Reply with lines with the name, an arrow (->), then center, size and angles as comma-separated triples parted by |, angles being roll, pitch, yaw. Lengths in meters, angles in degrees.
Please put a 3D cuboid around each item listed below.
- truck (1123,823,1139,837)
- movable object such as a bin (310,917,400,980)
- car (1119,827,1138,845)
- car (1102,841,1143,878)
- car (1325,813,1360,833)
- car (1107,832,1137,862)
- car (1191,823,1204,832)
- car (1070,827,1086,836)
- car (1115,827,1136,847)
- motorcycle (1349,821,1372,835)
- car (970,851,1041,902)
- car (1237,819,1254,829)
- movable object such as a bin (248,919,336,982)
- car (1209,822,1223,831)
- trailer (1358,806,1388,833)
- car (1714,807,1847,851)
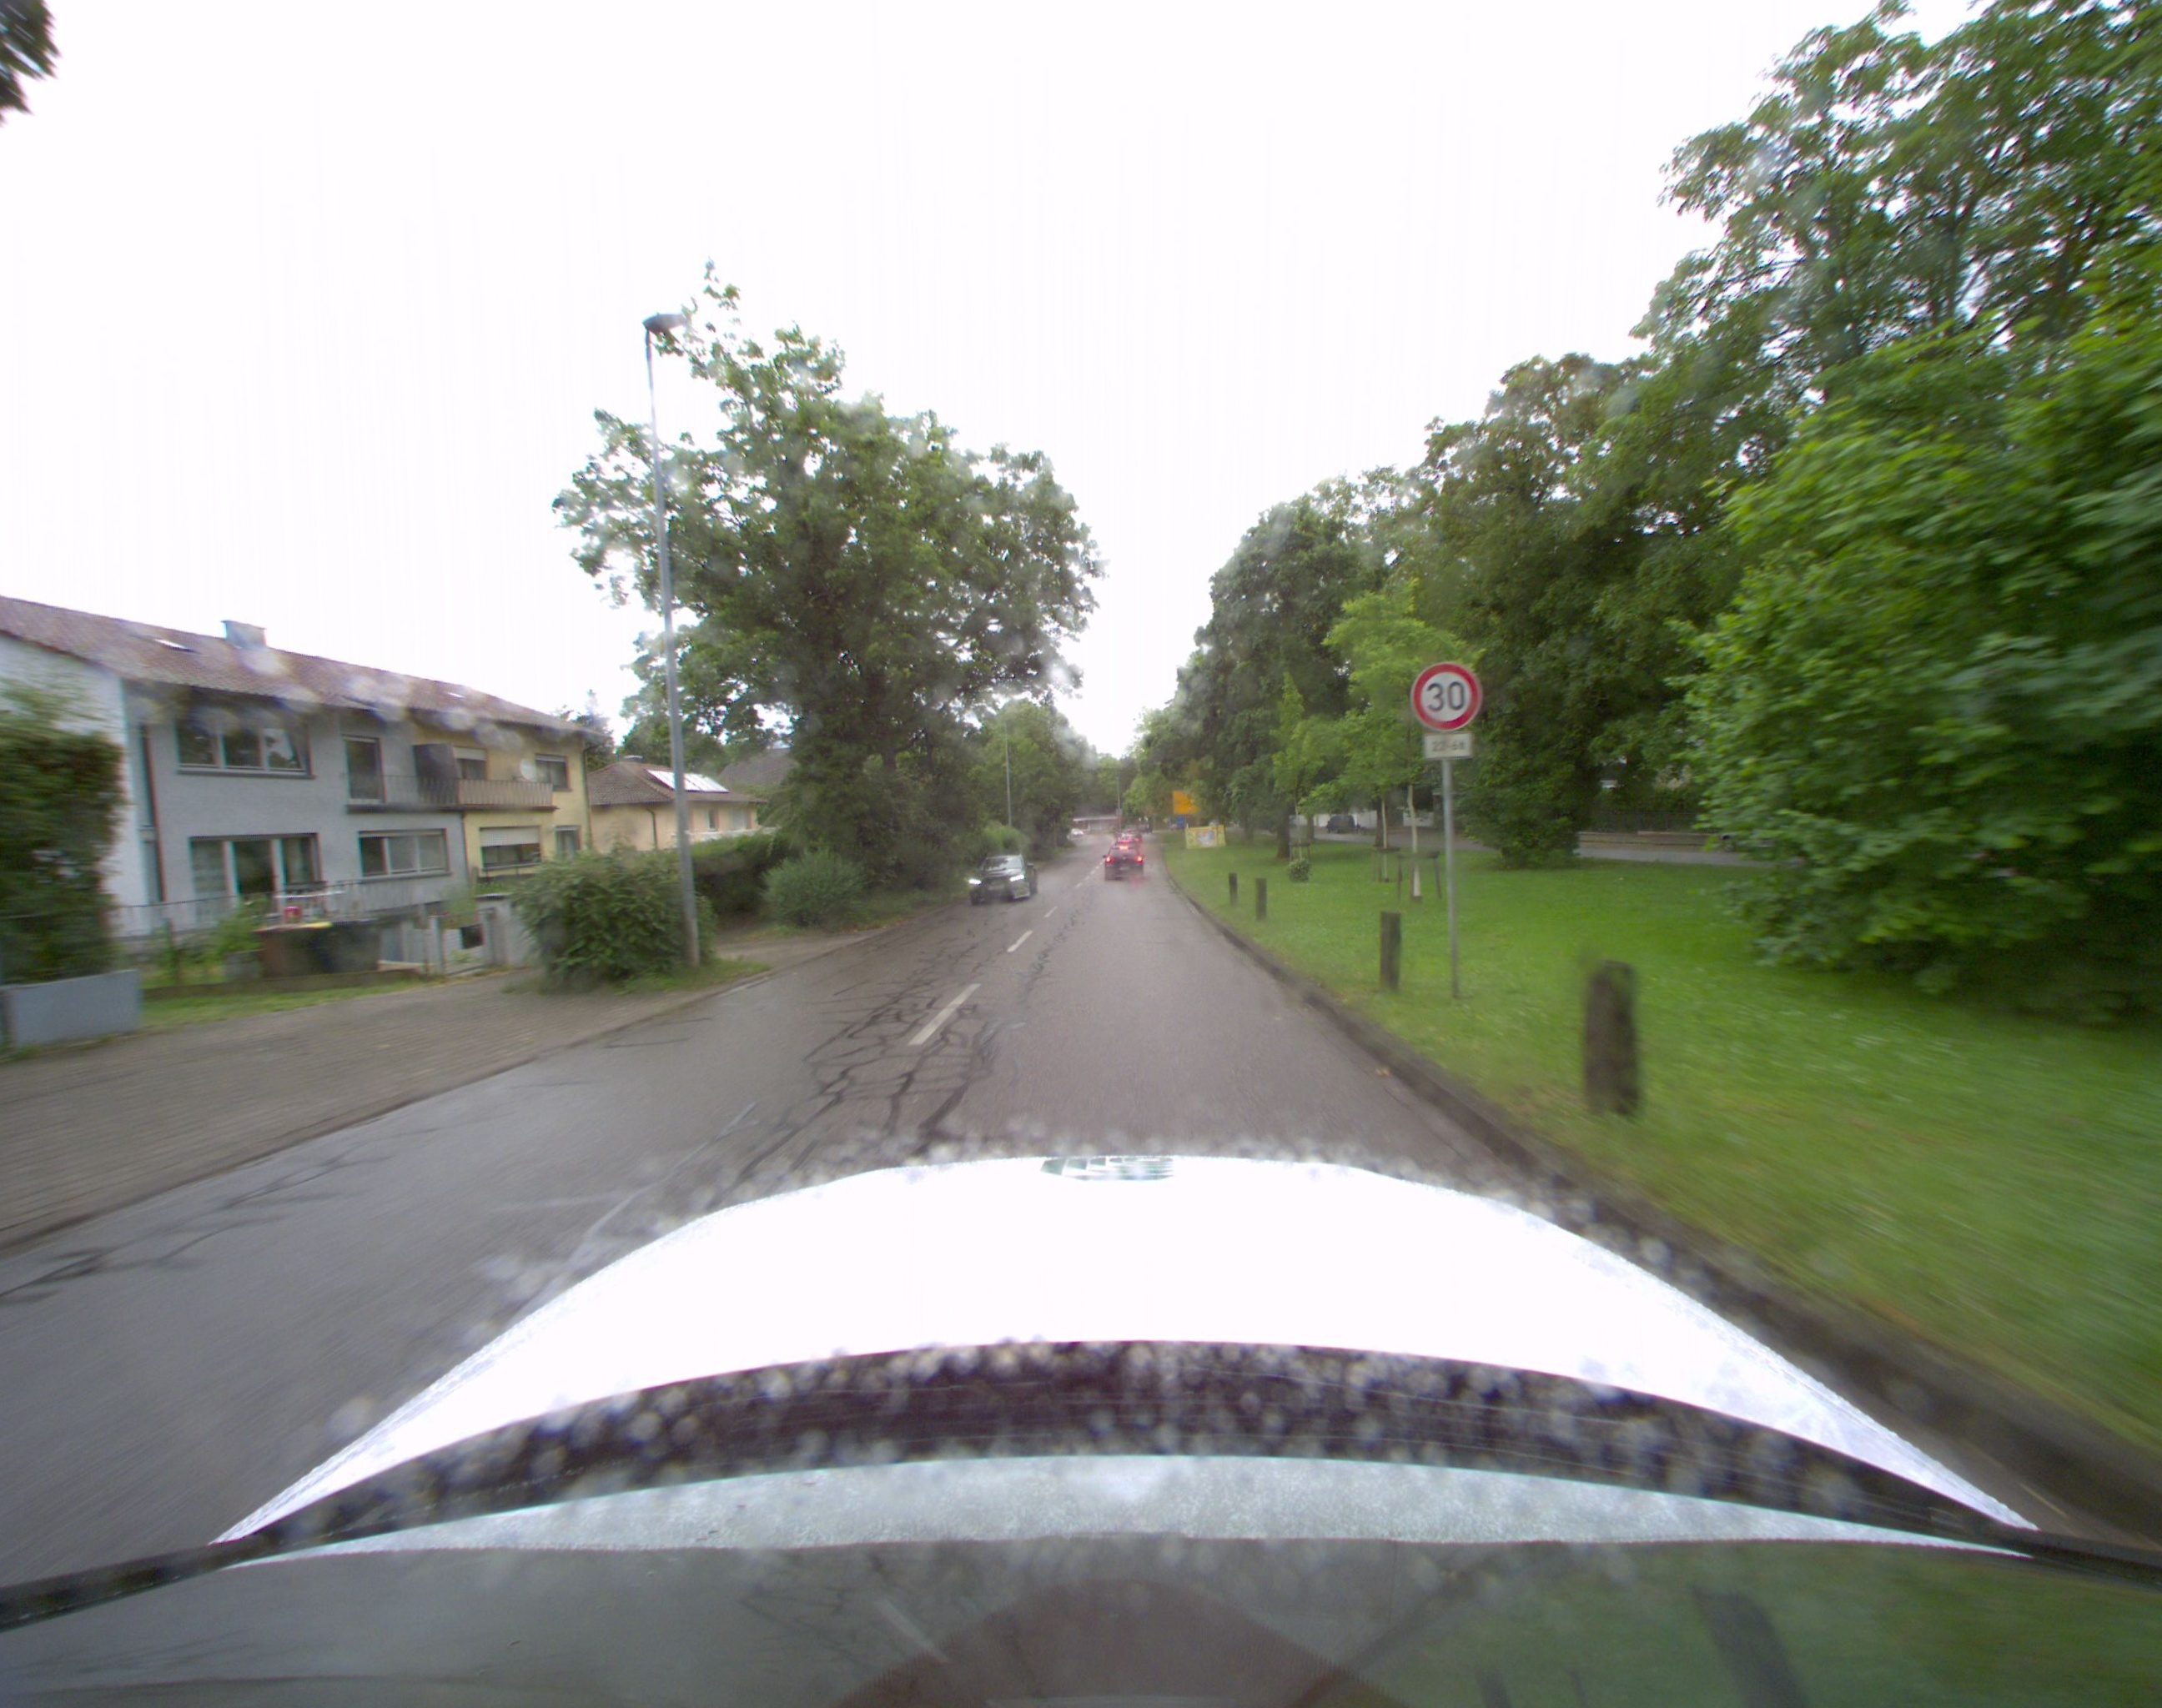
truck -> 7.723, -3.734, 126.099 | 2.407, 2.004, 5.155 | -3, 2, 3
movable object such as a bin -> -10.614, 1.373, 11.922 | 0.706, 0.825, 0.634 | -2, 1, 1
car -> 5.157, -1.961, 87.421 | 1.847, 1.784, 4.006 | -3, 2, 4
car -> 1.925, 0.227, 36.912 | 1.790, 1.515, 3.759 | 0, 2, 4
car -> 25.997, -3.116, 81.149 | 1.934, 1.808, 4.651 | -5, 3, 1
car -> 2.817, -0.515, 55.015 | 1.847, 1.784, 4.006 | -3, 2, 4
car -> 20.133, -4.604, 140.374 | 1.795, 1.385, 4.005 | -5, 3, 4
car -> -0.583, -4.300, 158.493 | 1.770, 1.613, 4.112 | -5, 2, -21
car -> 4.351, -1.622, 78.606 | 1.847, 1.784, 4.006 | -3, 2, 4
motorcycle -> 25.437, -2.371, 74.142 | 1.868, 1.092, 0.662 | -2, 3, 23
car -> -2.424, 0.670, 27.118 | 1.748, 1.363, 4.327 | -4, 1, 2
car -> 25.699, -4.682, 127.484 | 1.795, 1.411, 4.115 | -4, 3, 1
movable object such as a bin -> -11.548, 1.405, 11.932 | 0.630, 0.825, 0.634 | -2, 1, 1
car -> 23.188, -4.712, 140.057 | 1.795, 1.405, 4.005 | -5, 3, 4
trailer -> 25.660, -3.027, 71.595 | 1.432, 2.154, 2.949 | -5, 2, -1
car -> 25.725, -0.924, 30.124 | 1.675, 1.375, 3.711 | -5, 1, 1
